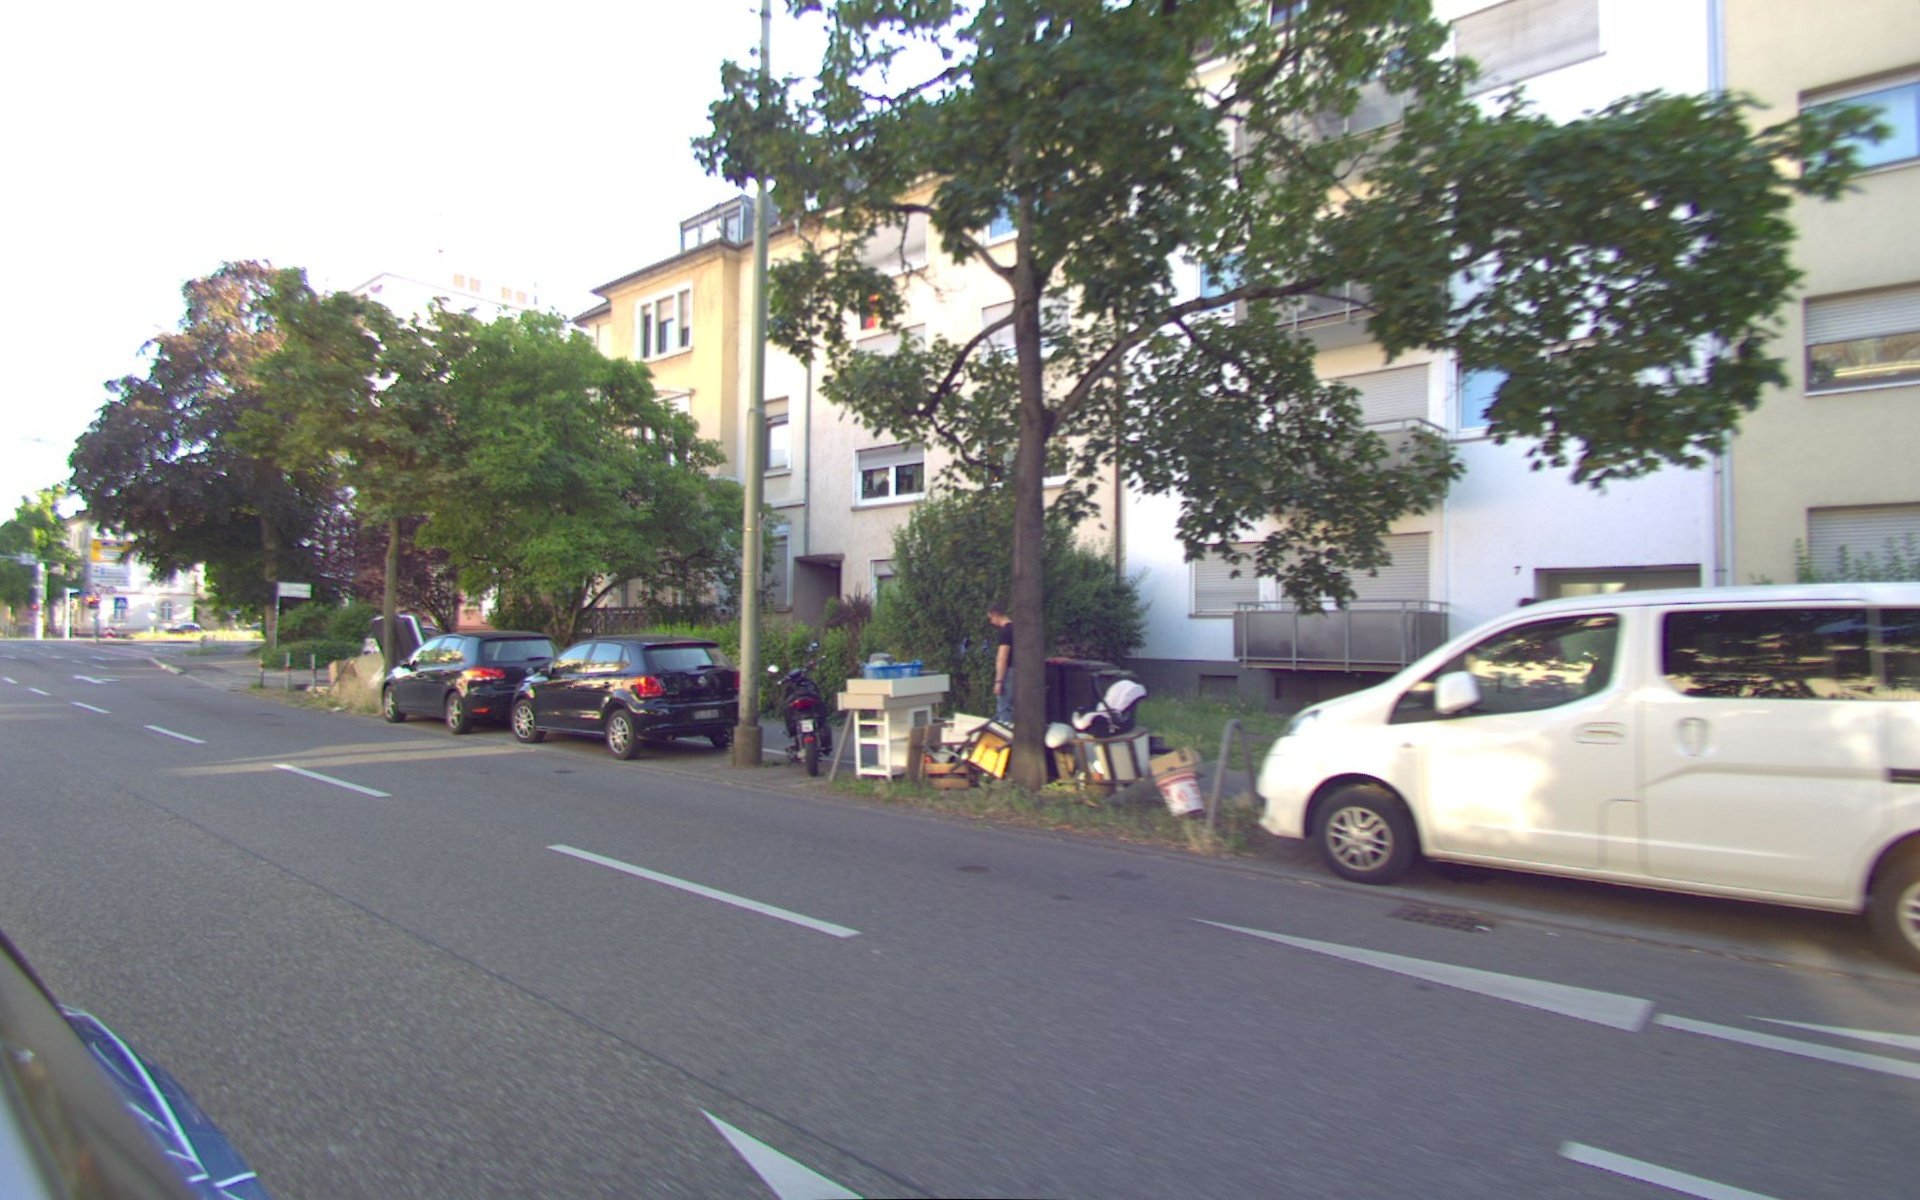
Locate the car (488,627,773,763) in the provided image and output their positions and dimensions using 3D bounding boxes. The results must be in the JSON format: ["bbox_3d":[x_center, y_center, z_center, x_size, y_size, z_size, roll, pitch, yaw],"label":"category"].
[{"bbox_3d":[-4.402,1.129,13.244,3.975,1.514,1.732,-2,-3,41],"label":"car"}]

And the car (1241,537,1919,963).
[{"bbox_3d":[4.131,0.729,5.964,4.456,1.934,1.751,-2,-3,41],"label":"car"}]

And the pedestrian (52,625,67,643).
[{"bbox_3d":[-90.791,3.421,102.006,1.166,1.863,0.812,-1,-3,32],"label":"pedestrian"}]

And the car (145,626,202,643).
[{"bbox_3d":[-70.076,3.083,90.173,1.996,1.457,3.603,-2,-3,36],"label":"car"}]

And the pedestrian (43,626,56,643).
[{"bbox_3d":[-91.352,3.454,101.517,1.081,1.721,0.671,-1,-3,32],"label":"pedestrian"}]

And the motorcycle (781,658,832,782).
[{"bbox_3d":[-1.687,1.255,11.006,0.434,1.201,1.711,0,-2,-12],"label":"motorcycle"}]

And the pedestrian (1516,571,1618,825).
[{"bbox_3d":[5.138,0.799,8.566,0.616,2.029,0.620,-2,-3,40],"label":"pedestrian"}]

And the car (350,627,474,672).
[{"bbox_3d":[-19.605,1.756,36.317,1.812,1.497,3.465,-2,-3,36],"label":"car"}]

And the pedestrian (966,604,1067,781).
[{"bbox_3d":[0.681,1.084,12.249,0.975,2.029,0.759,-2,-3,40],"label":"pedestrian"}]

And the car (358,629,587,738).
[{"bbox_3d":[-7.839,1.235,16.114,4.194,1.514,1.732,-2,-3,41],"label":"car"}]
